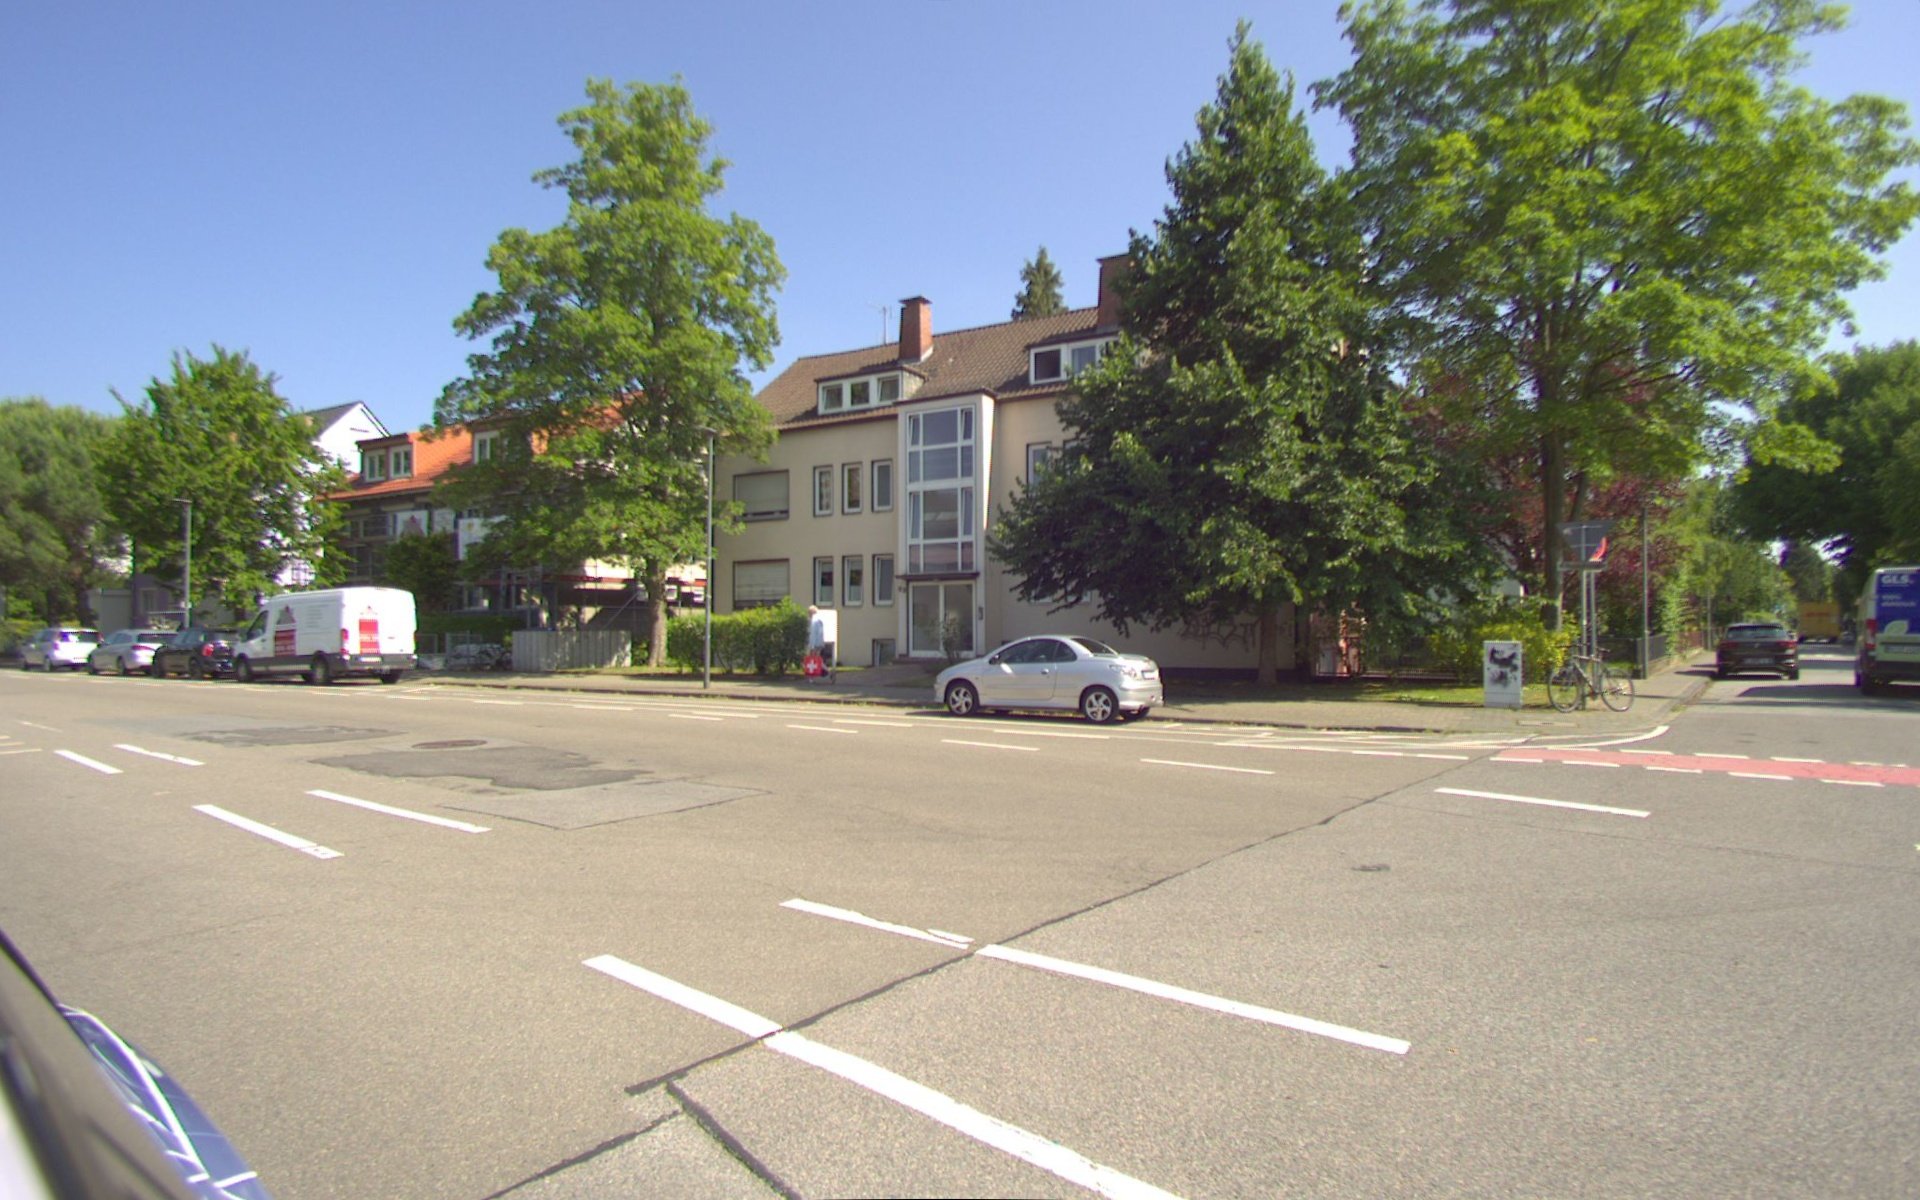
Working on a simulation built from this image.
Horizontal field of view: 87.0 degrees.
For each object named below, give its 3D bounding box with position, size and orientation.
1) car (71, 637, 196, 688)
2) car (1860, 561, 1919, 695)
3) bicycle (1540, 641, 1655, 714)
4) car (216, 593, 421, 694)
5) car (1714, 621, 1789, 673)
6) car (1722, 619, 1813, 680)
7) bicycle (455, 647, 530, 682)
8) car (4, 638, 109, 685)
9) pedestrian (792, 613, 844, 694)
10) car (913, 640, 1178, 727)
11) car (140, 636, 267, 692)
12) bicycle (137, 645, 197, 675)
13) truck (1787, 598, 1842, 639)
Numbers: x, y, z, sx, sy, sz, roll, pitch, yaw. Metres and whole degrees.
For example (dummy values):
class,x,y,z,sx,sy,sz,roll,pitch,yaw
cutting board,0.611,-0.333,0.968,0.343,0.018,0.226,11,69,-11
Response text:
class,x,y,z,sx,sy,sz,roll,pitch,yaw
car,-26.798,2.029,32.770,4.656,1.571,1.707,-3,-4,32
car,20.557,0.624,21.311,2.282,2.544,6.050,-3,-4,42
bicycle,10.156,1.226,16.127,1.688,1.089,0.378,-1,-2,-10
car,-17.503,1.234,27.539,5.925,2.516,2.075,-2,-4,29
car,25.402,1.489,32.577,1.745,1.564,3.748,-3,-3,36
car,22.138,1.348,27.859,1.745,1.564,3.748,-3,-3,36
bicycle,-14.713,2.008,31.892,0.773,1.009,2.051,-2,-2,33
car,-32.156,2.195,35.997,3.986,1.571,1.707,-3,-4,32
pedestrian,-3.252,1.216,23.237,0.724,1.793,0.965,-2,-2,36
car,1.353,1.327,16.542,3.986,1.276,1.707,-3,-4,32
car,-22.586,1.895,30.200,3.986,1.571,1.707,-3,-4,32
bicycle,-37.069,2.795,47.333,0.501,1.394,2.158,-2,-3,27
truck,59.308,1.324,70.364,2.230,2.616,8.711,-3,-3,36
